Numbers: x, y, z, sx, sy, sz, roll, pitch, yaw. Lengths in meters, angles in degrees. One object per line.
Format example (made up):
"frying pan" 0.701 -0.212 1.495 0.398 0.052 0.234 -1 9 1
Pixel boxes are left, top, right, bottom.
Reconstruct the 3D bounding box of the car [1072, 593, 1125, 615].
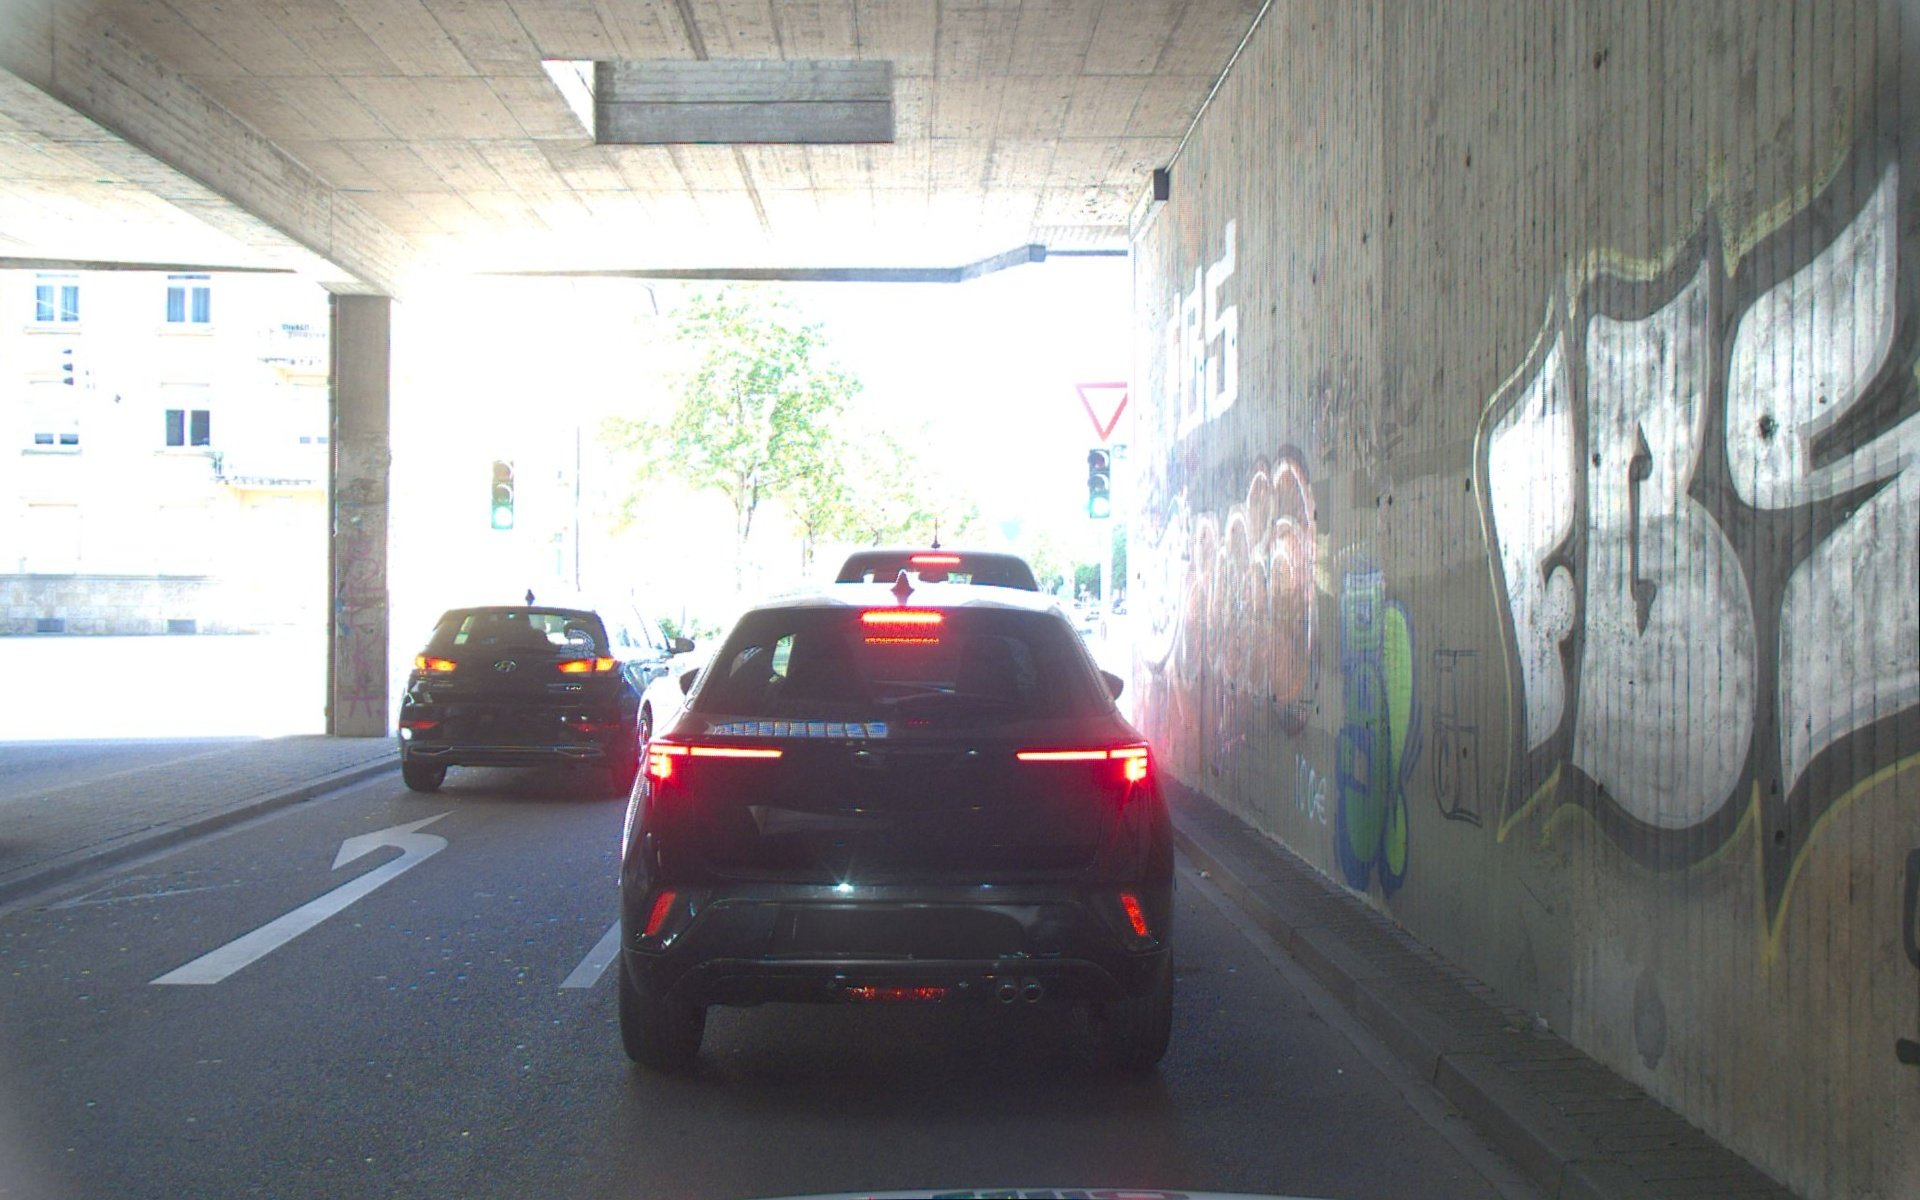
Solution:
"car" 13.514 0.380 161.102 4.802 2.119 1.978 0 -1 -15

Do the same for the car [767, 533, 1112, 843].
"car" -0.155 0.520 12.506 2.089 1.867 4.939 0 0 -1

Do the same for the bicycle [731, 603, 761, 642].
"bicycle" -6.295 0.660 48.719 0.514 1.109 1.861 0 0 4

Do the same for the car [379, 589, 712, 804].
"car" -3.201 0.659 13.641 1.764 1.476 4.325 0 0 -2

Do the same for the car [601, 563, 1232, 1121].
"car" -0.143 0.671 6.490 1.745 1.544 3.755 1 0 -1

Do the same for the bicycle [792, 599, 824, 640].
"bicycle" -4.403 0.557 48.098 0.683 1.109 1.861 0 2 2

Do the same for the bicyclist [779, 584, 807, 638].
"bicyclist" -5.285 0.341 52.248 0.766 1.689 1.031 0 0 1

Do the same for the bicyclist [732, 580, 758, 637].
"bicyclist" -6.320 0.252 48.700 0.593 1.661 0.910 0 0 4

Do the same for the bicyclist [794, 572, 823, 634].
"bicyclist" -4.400 0.081 48.121 0.730 1.741 0.967 0 2 2

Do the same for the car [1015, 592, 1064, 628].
"car" 3.636 0.440 75.037 1.668 1.539 3.866 -2 0 11

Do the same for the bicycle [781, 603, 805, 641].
"bicycle" -5.266 0.687 52.244 0.530 1.142 2.059 0 0 1

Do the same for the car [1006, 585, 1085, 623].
"car" 5.984 0.272 116.210 5.175 2.590 1.977 0 -1 -16

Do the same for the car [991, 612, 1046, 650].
"car" 2.440 1.268 68.283 1.671 1.477 3.854 0 0 11

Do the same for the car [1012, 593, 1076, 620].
"car" 6.796 0.494 134.230 4.822 2.119 1.969 0 -1 -26

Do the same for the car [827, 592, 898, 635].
"car" -3.448 0.451 59.060 1.622 1.466 3.466 0 0 13
